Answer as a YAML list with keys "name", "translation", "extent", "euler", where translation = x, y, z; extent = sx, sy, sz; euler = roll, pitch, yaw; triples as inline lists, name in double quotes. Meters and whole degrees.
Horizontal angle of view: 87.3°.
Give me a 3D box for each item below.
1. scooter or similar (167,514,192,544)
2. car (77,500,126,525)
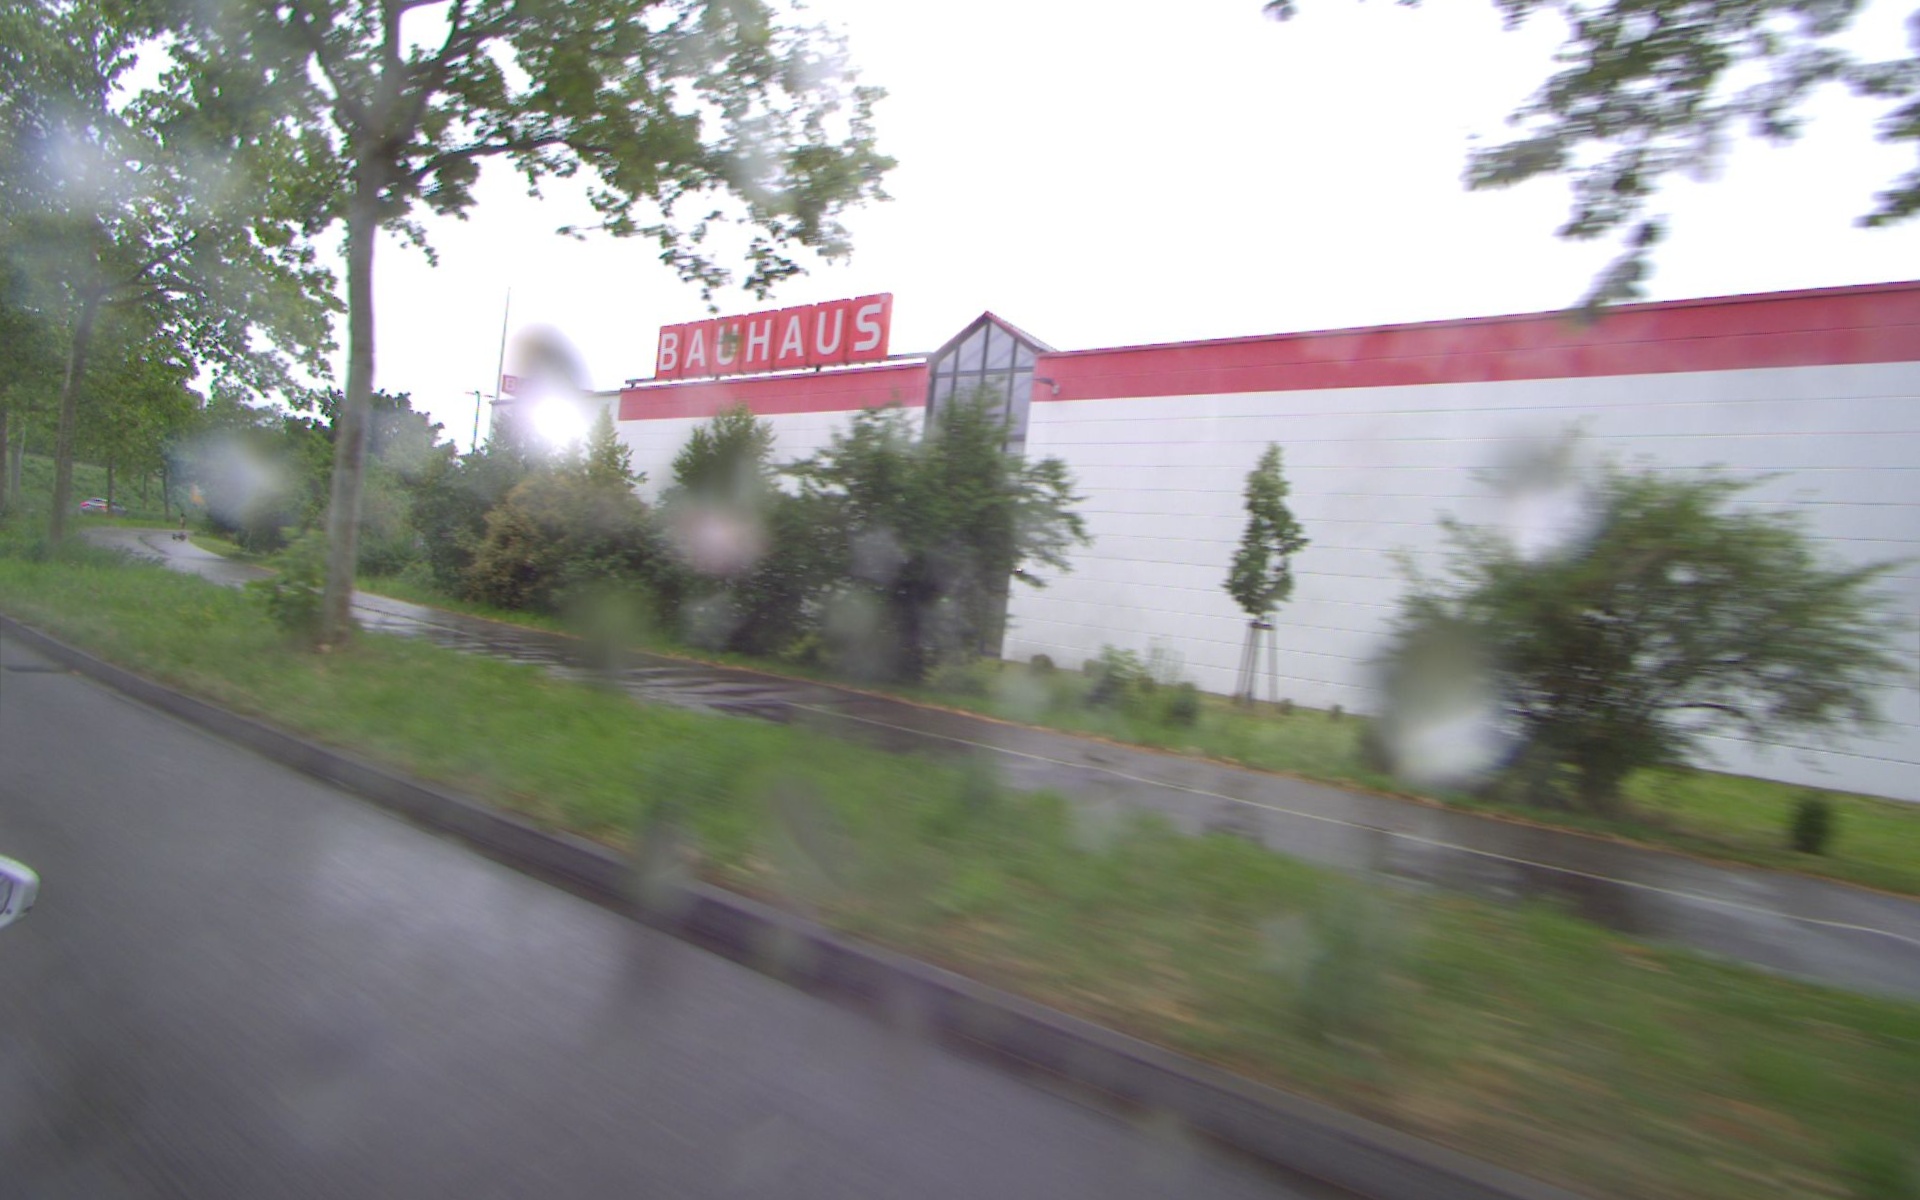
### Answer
- name: "scooter or similar"
  translation: [-35.397, -3.211, 45.614]
  extent: [1.094, 1.212, 0.548]
  euler: [7, 0, 36]
- name: "car"
  translation: [-68.997, -7.029, 80.922]
  extent: [1.763, 1.573, 3.977]
  euler: [9, -1, -24]
